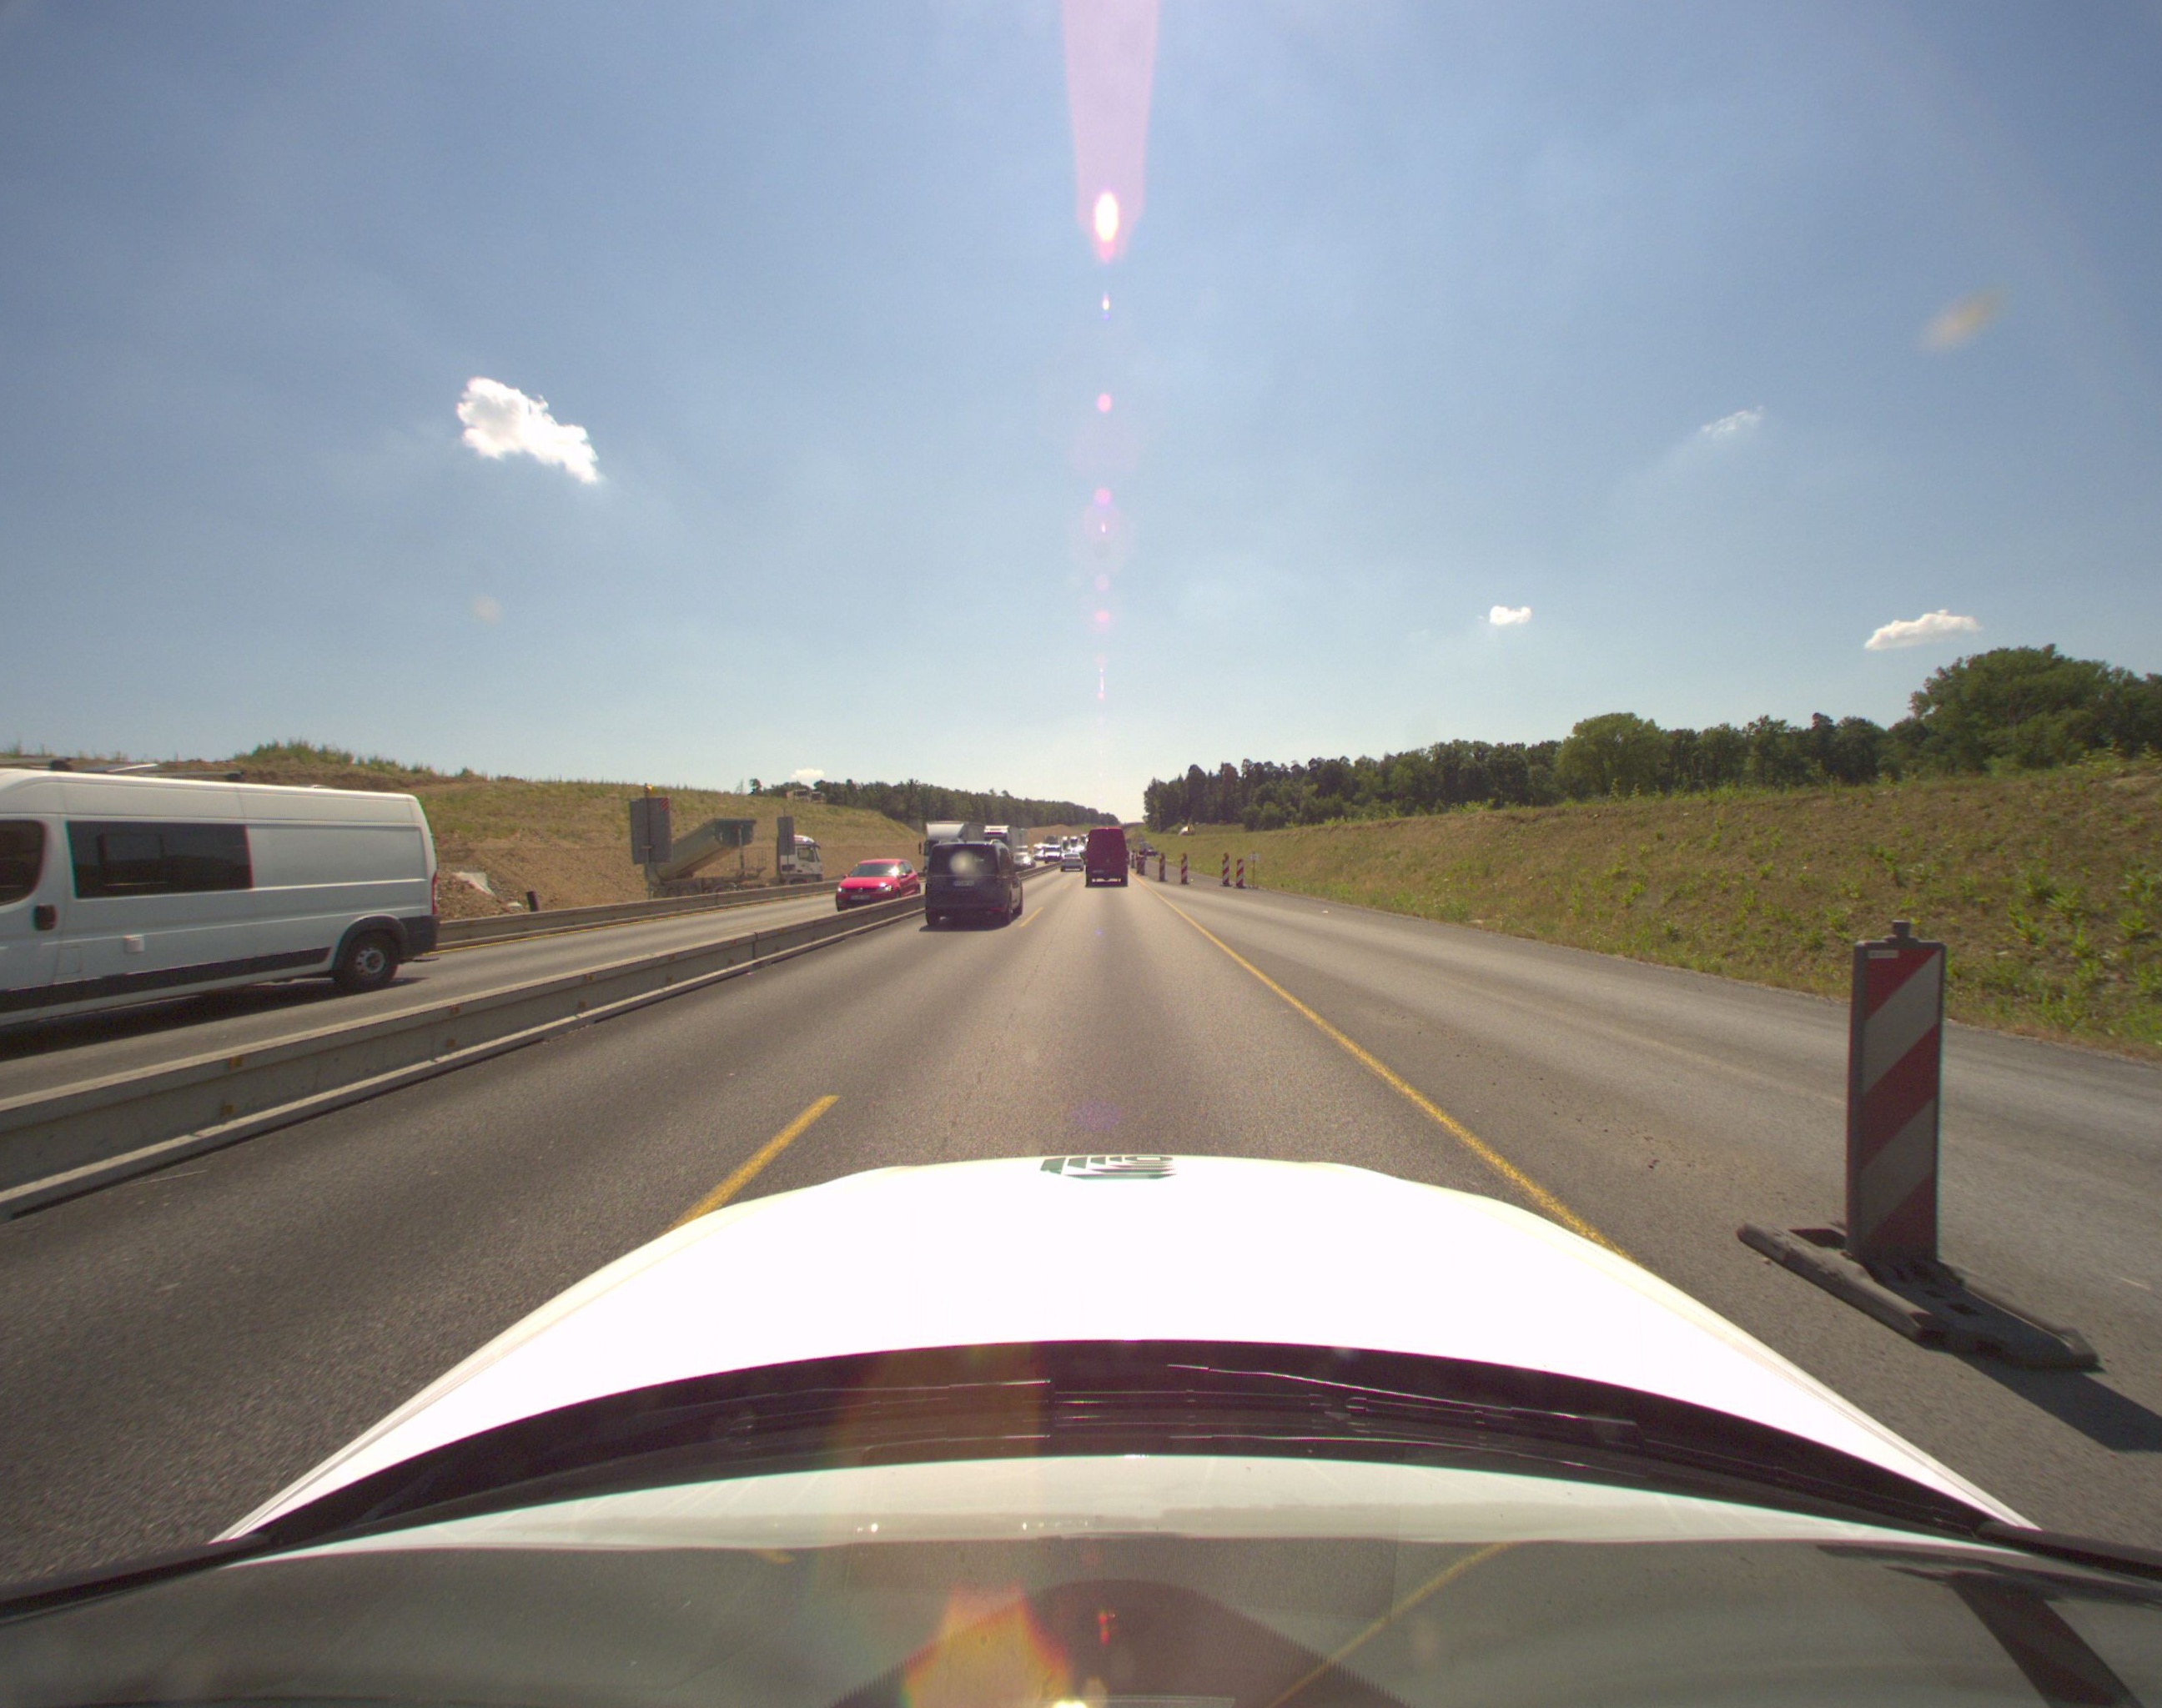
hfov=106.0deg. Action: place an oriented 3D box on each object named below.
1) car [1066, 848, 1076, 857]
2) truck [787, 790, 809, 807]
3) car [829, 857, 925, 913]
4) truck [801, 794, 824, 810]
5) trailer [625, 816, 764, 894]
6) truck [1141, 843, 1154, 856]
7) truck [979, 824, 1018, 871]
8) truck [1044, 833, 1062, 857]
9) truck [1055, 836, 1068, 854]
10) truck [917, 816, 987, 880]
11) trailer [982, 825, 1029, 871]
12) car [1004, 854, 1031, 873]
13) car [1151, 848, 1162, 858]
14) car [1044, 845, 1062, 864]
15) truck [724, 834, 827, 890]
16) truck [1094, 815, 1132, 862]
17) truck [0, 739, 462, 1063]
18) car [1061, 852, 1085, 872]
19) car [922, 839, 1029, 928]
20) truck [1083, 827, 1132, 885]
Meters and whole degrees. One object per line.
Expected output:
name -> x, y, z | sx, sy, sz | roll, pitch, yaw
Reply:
car -> -1.902, -0.274, 155.060 | 1.682, 1.613, 4.595 | -1, 0, 1
truck -> -58.125, -11.296, 167.077 | 2.371, 2.898, 8.279 | 0, 0, -34
car -> -5.781, 0.829, 23.498 | 1.621, 1.484, 4.055 | -1, 0, 2
truck -> -57.705, -11.159, 174.921 | 2.311, 2.749, 8.813 | 0, 0, -34
trailer -> -22.086, 0.098, 46.422 | 8.263, 4.098, 2.817 | -1, -1, 29
truck -> 13.203, -0.978, 161.371 | 2.117, 2.456, 5.940 | 0, 1, 9
truck -> -7.404, -0.526, 73.677 | 2.838, 4.018, 4.861 | -2, 0, 1
truck -> -5.163, -1.642, 148.762 | 2.480, 4.198, 5.918 | -2, 0, 4
truck -> -4.460, -1.985, 188.006 | 2.583, 4.053, 5.150 | 0, 0, 1
truck -> -8.114, -0.310, 52.484 | 2.634, 3.716, 9.486 | -1, 0, 2
trailer -> -7.307, -0.520, 80.647 | 2.844, 4.093, 13.657 | -2, 0, 2
car -> -5.021, 0.747, 65.170 | 1.852, 1.442, 4.500 | 0, 0, 0
car -> 13.339, -0.190, 143.254 | 1.647, 1.426, 4.548 | -3, 1, 2
car -> -3.521, 0.002, 103.051 | 1.986, 2.292, 5.345 | 0, 1, 1
truck -> -17.010, 0.413, 45.349 | 5.076, 2.964, 2.562 | 0, -1, -30
truck -> 4.060, -1.803, 103.531 | 4.383, 5.496, 16.610 | -1, 0, 2
truck -> -9.614, 0.336, 8.006 | 2.091, 2.569, 6.356 | 0, 1, 1
car -> -0.615, 0.620, 66.142 | 1.824, 1.522, 3.963 | -1, 0, 2
car -> -2.331, 0.587, 19.220 | 1.745, 1.824, 4.785 | 0, 1, 2
truck -> 1.220, 0.098, 39.074 | 2.145, 2.590, 5.334 | 0, 0, 1
